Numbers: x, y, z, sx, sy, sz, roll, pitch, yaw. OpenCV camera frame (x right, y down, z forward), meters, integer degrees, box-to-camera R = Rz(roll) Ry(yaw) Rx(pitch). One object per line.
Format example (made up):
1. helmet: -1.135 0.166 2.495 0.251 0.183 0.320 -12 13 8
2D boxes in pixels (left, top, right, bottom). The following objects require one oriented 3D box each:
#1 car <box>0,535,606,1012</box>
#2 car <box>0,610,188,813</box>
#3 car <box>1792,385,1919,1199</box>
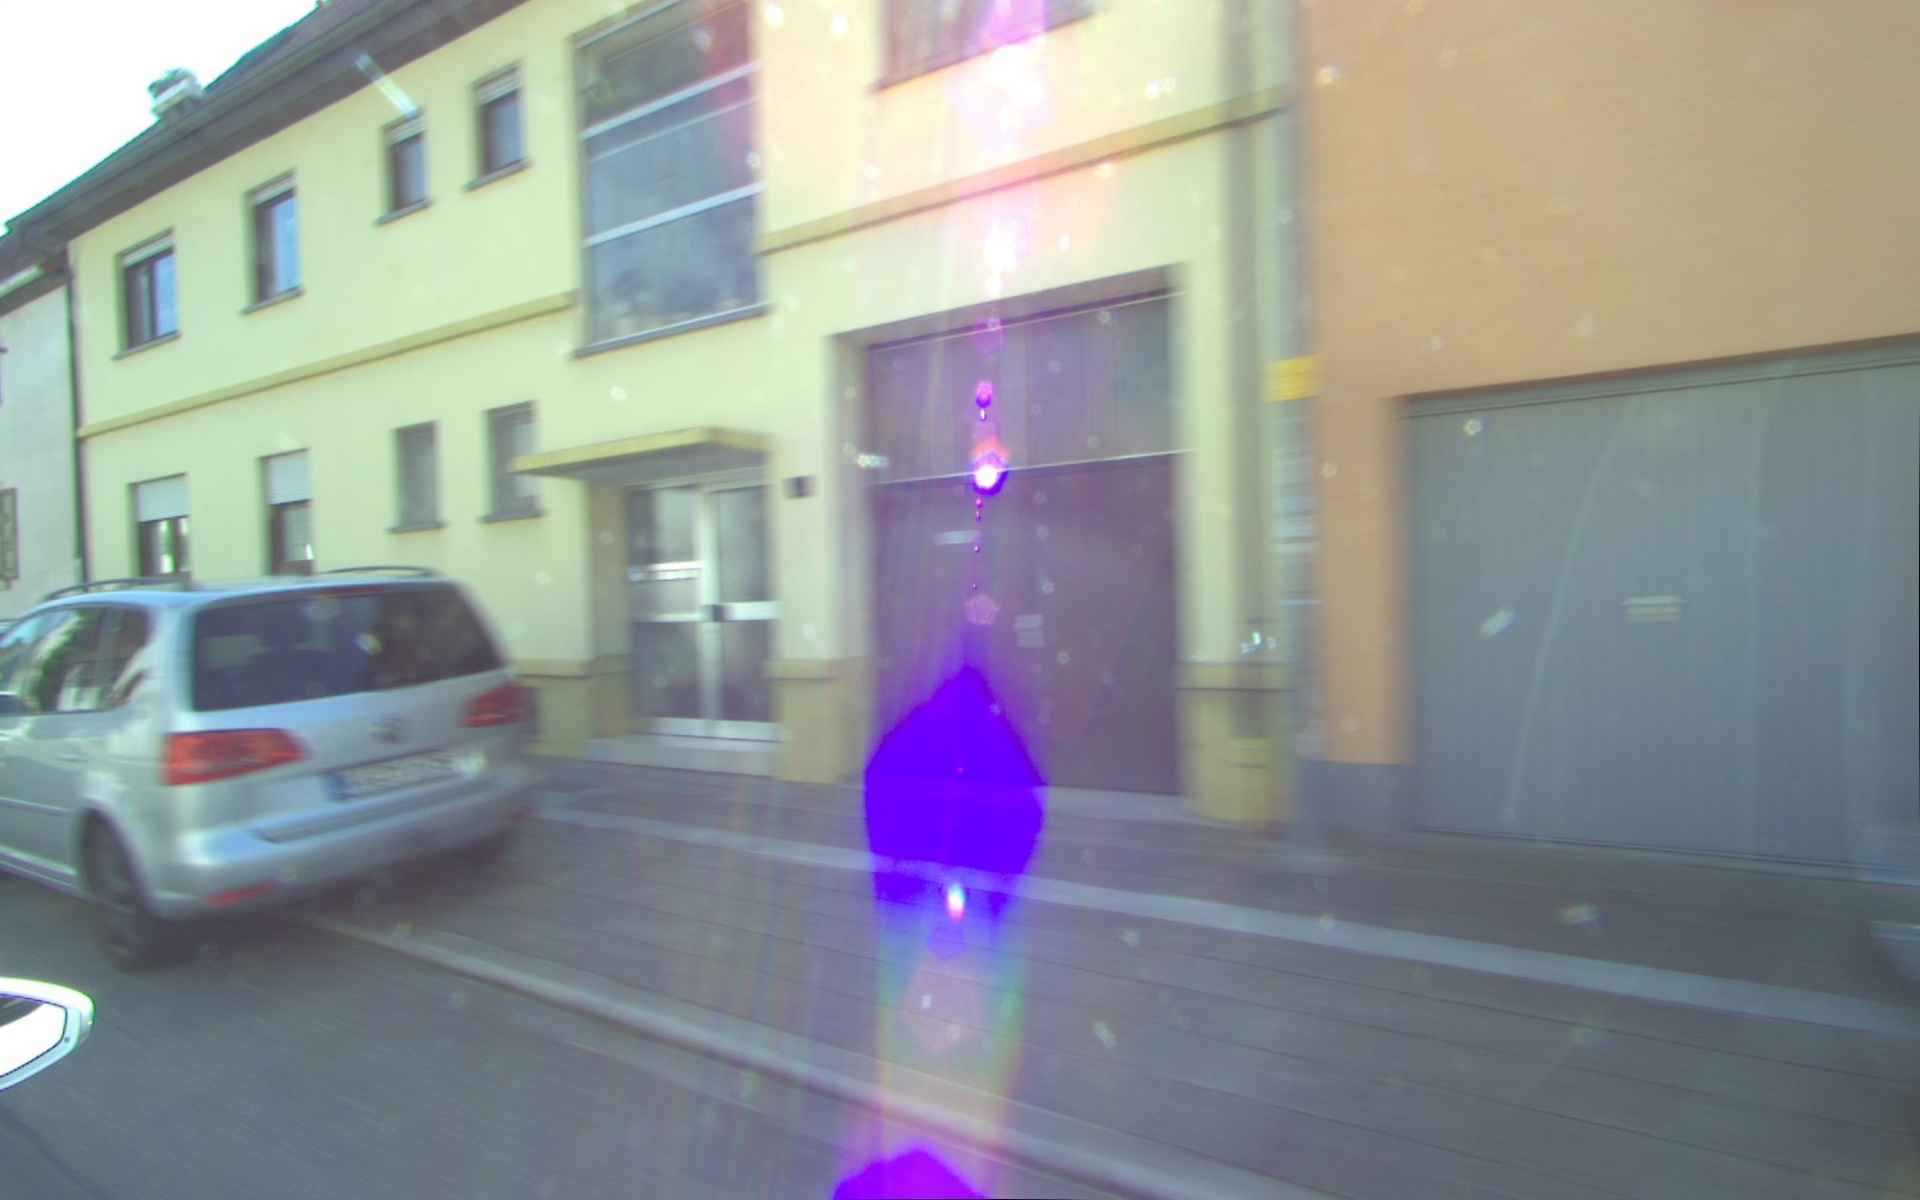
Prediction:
1. car: -4.132 0.685 5.623 4.189 1.750 1.894 -1 -1 33
2. car: -8.416 0.871 8.699 3.669 1.457 1.547 -1 1 33
3. car: 4.025 0.437 0.687 5.109 1.725 1.839 -1 1 34
